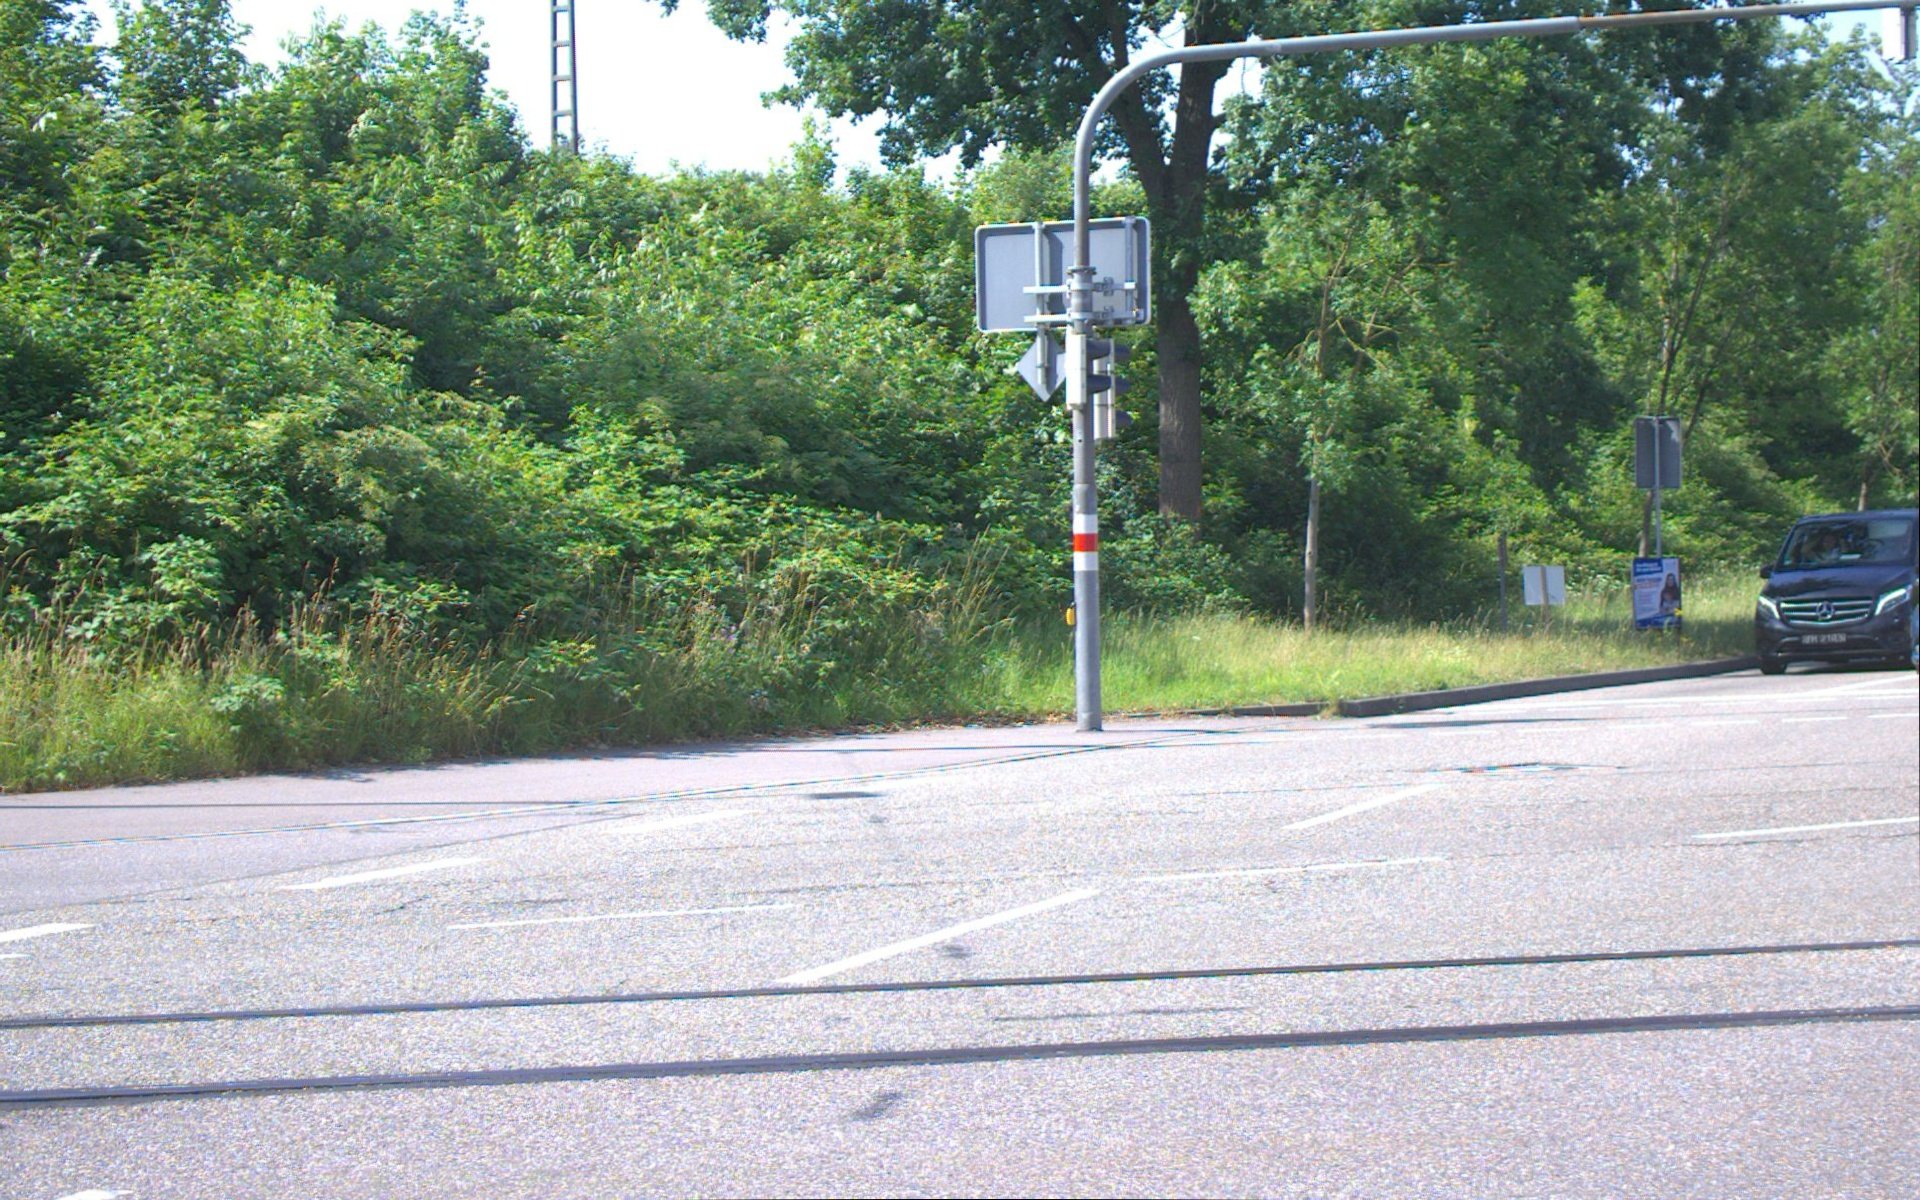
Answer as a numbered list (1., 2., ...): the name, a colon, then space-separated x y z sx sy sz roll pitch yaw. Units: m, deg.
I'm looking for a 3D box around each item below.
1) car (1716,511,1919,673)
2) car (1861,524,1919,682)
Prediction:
1. car: 10.293 -0.128 40.579 1.852 1.808 3.995 -1 1 25
2. car: 10.611 -0.024 35.502 1.852 1.556 3.995 -1 1 25
